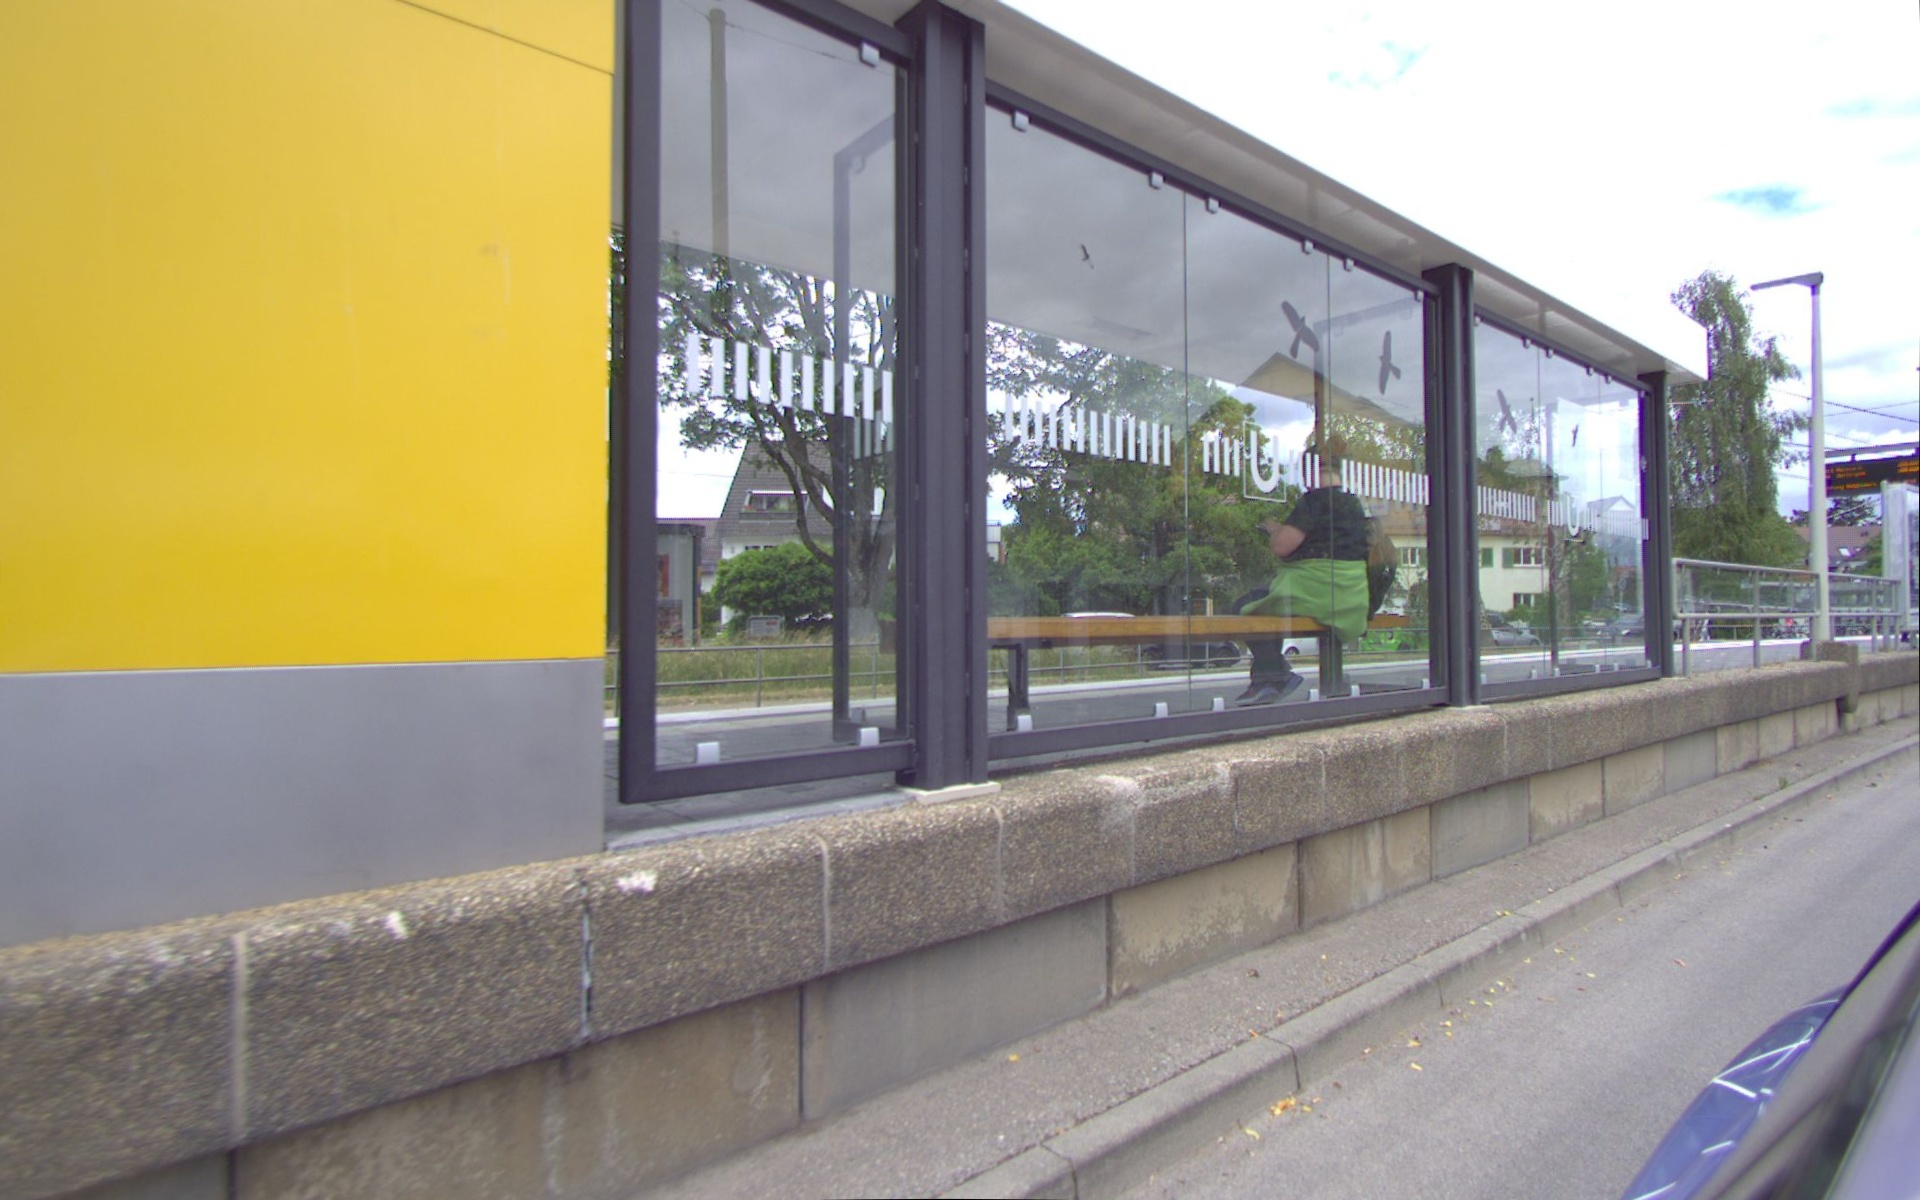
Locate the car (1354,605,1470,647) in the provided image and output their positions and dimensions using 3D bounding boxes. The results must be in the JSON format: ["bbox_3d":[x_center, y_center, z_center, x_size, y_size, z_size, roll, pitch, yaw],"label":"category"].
[{"bbox_3d":[16.041,0.891,35.876,3.924,1.366,2.000,0,-1,-35],"label":"car"}]

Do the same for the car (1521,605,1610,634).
[{"bbox_3d":[32.458,1.051,54.262,3.916,1.453,2.004,0,-1,-20],"label":"car"}]

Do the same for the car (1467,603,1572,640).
[{"bbox_3d":[22.500,0.844,40.693,3.921,1.366,2.001,0,-1,-32],"label":"car"}]

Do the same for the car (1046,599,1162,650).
[{"bbox_3d":[5.305,0.877,37.279,3.795,1.797,1.798,-1,-1,-19],"label":"car"}]

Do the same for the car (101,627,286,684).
[{"bbox_3d":[-21.551,1.523,28.660,3.918,1.458,1.798,0,-1,-27],"label":"car"}]

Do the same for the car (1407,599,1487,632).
[{"bbox_3d":[29.251,0.923,60.808,4.146,1.886,2.003,0,-1,-20],"label":"car"}]

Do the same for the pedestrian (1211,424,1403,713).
[{"bbox_3d":[1.750,-0.146,5.117,0.679,1.328,0.655,0,-1,-39],"label":"pedestrian"}]

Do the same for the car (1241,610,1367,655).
[{"bbox_3d":[11.403,1.049,33.482,3.924,1.366,2.000,0,-1,-35],"label":"car"}]
